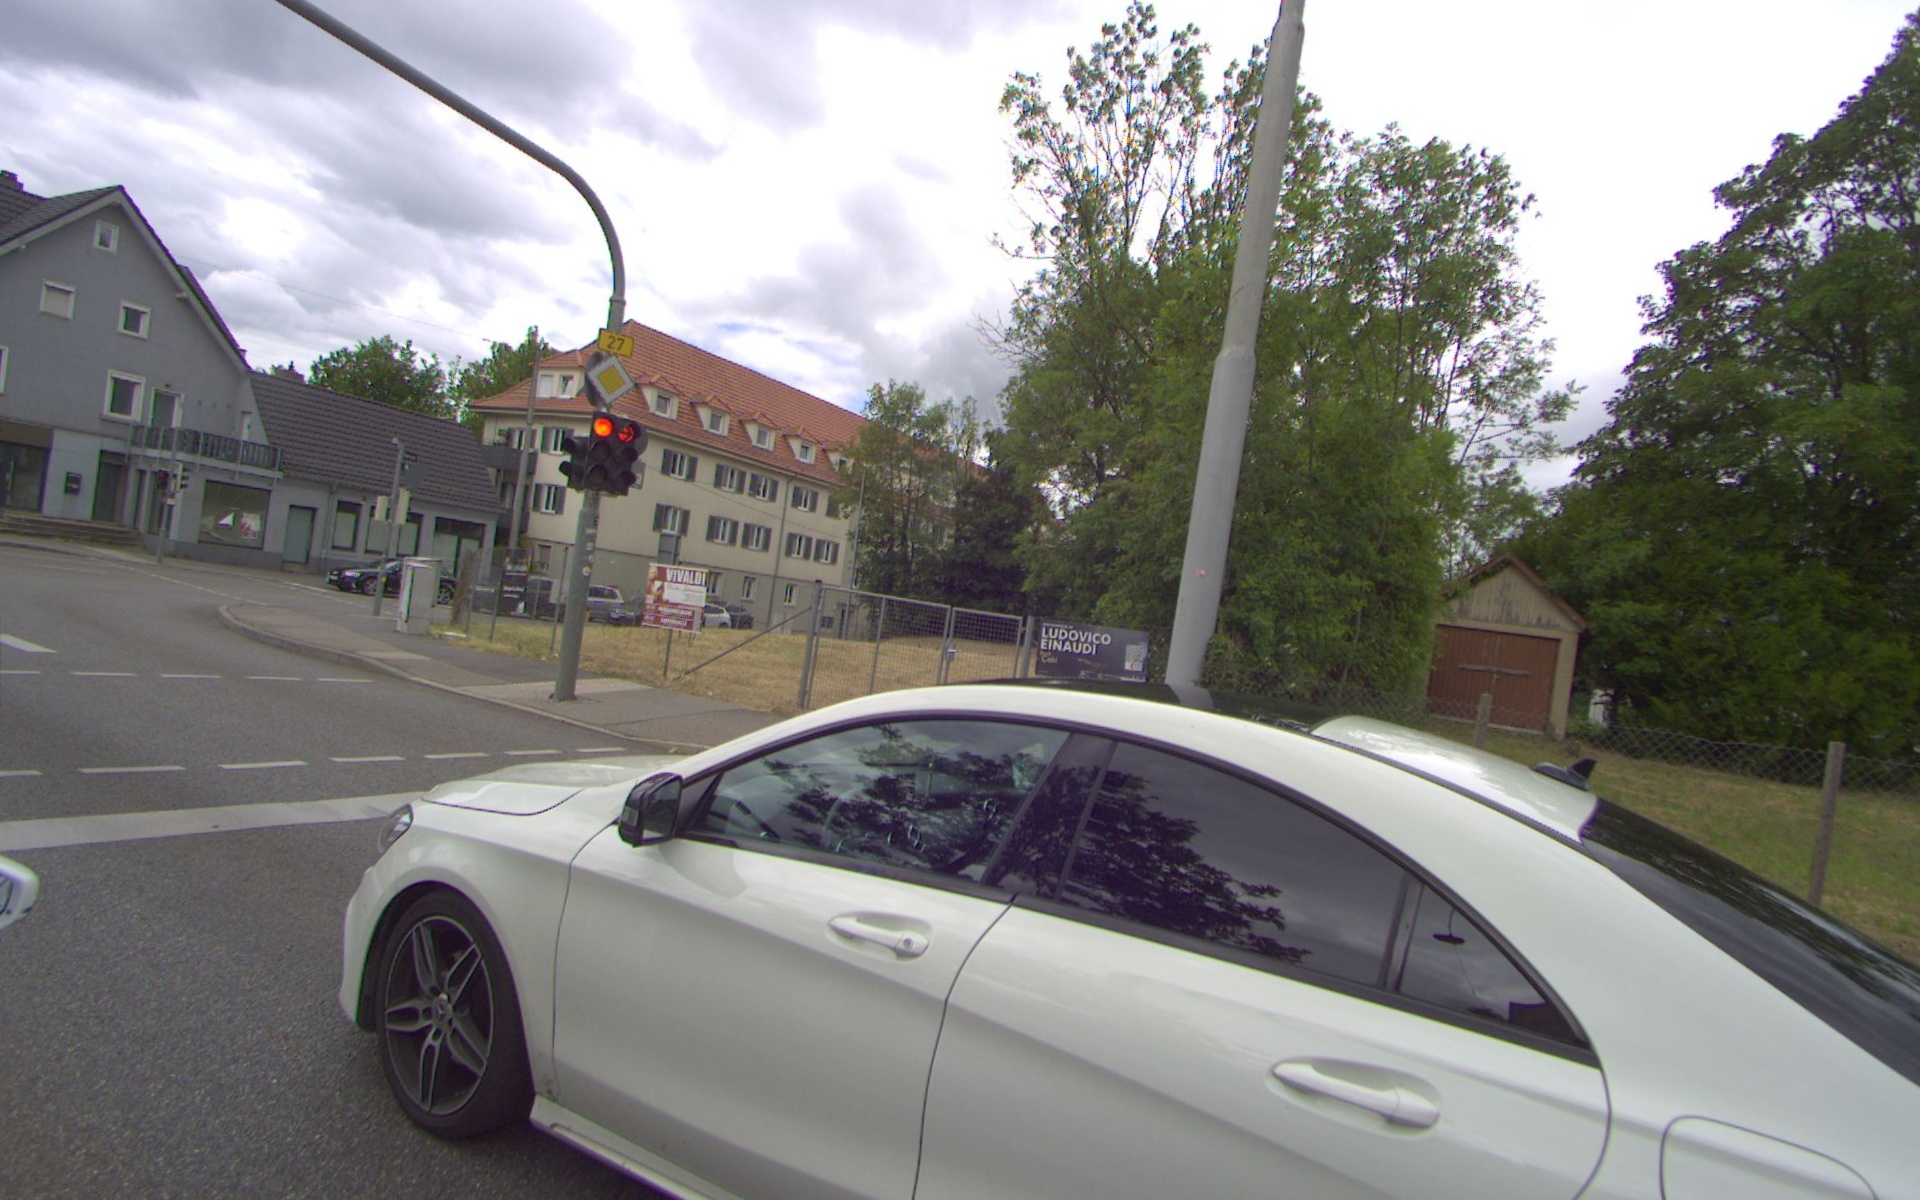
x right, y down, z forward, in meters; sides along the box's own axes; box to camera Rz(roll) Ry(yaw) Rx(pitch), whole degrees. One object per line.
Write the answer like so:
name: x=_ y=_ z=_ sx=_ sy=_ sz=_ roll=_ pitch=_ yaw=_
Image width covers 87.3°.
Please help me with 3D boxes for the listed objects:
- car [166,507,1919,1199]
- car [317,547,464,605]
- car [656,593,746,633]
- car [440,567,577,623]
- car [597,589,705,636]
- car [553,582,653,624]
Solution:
car: x=0.102 y=0.789 z=2.784 sx=4.691 sy=1.523 sz=1.871 roll=7 pitch=-1 yaw=29
car: x=-20.111 y=-0.803 z=35.715 sx=1.769 sy=1.386 sz=4.099 roll=7 pitch=-3 yaw=30
car: x=-12.540 y=0.668 z=48.987 sx=1.769 sy=1.386 sz=4.099 roll=7 pitch=-3 yaw=30
car: x=-16.151 y=-0.132 z=36.173 sx=1.769 sy=1.386 sz=4.099 roll=7 pitch=-3 yaw=30
car: x=-12.877 y=0.569 z=42.142 sx=1.769 sy=1.386 sz=4.099 roll=7 pitch=-3 yaw=30
car: x=-16.583 y=0.169 z=46.940 sx=1.769 sy=1.386 sz=4.099 roll=7 pitch=-3 yaw=30
